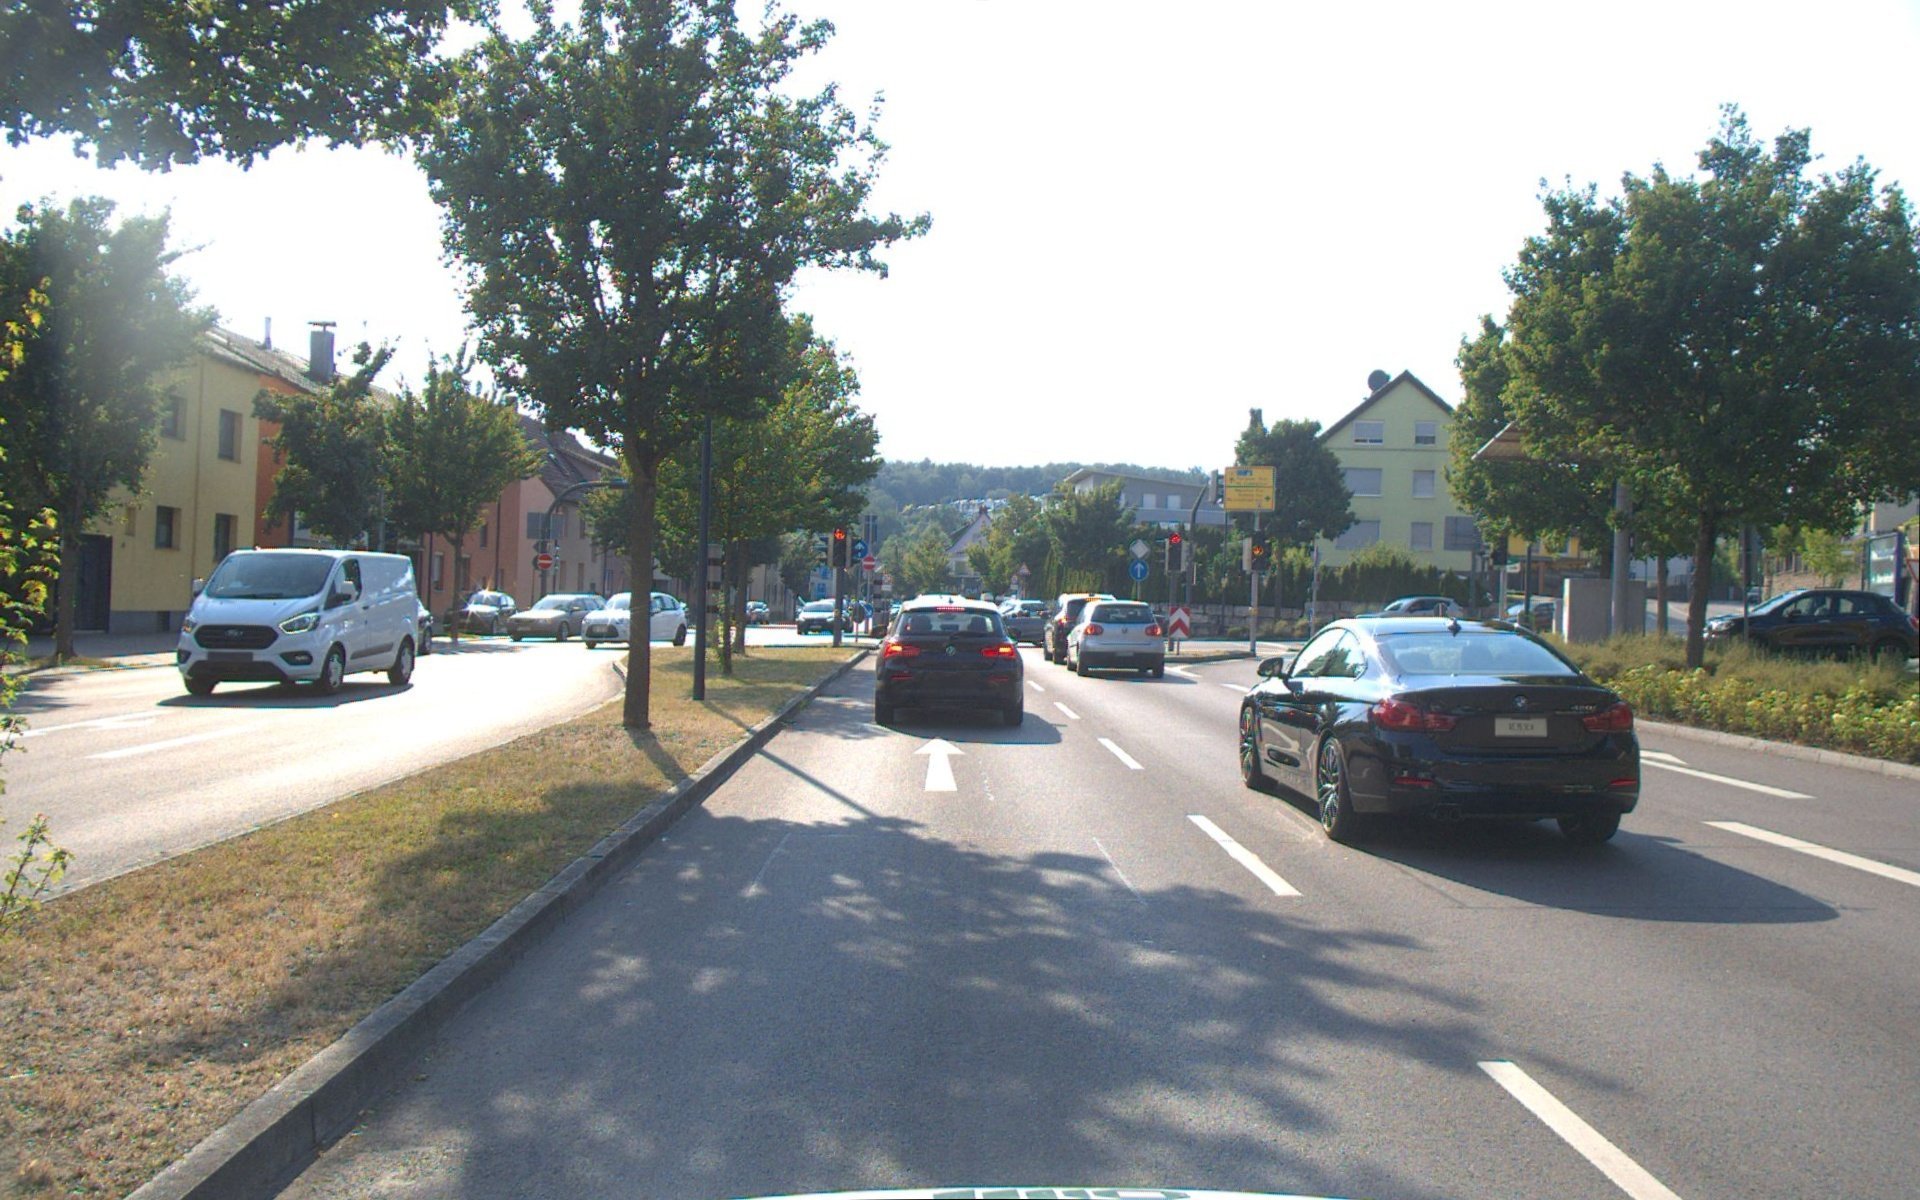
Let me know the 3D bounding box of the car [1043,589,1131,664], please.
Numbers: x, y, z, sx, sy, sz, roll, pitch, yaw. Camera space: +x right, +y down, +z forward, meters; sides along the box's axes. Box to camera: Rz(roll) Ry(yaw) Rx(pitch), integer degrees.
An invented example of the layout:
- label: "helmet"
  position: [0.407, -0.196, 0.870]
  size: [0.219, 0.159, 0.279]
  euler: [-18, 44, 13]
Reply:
- label: "car"
  position: [3.018, 0.609, 40.011]
  size: [1.779, 1.695, 4.346]
  euler: [1, 0, 0]

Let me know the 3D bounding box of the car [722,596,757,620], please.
- label: "car"
  position: [-15.525, 0.571, 116.718]
  size: [1.884, 1.624, 4.000]
  euler: [1, 0, 0]

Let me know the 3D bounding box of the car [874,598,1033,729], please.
- label: "car"
  position: [-0.070, 0.706, 20.649]
  size: [1.754, 1.439, 4.346]
  euler: [1, 0, 0]

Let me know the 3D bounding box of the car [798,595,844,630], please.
- label: "car"
  position: [-6.236, 0.545, 74.555]
  size: [1.730, 1.484, 4.000]
  euler: [1, 0, 0]

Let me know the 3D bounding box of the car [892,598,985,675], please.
- label: "car"
  position: [-0.414, 0.703, 34.102]
  size: [1.779, 1.476, 4.241]
  euler: [1, 0, 0]

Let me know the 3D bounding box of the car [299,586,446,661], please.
- label: "car"
  position: [-12.872, 0.486, 36.515]
  size: [1.770, 1.523, 4.244]
  euler: [1, 0, -1]

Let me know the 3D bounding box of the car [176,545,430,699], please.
- label: "car"
  position: [-9.246, 0.286, 23.759]
  size: [1.786, 1.957, 4.943]
  euler: [1, 0, -2]

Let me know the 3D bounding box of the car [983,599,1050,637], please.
- label: "car"
  position: [2.623, 0.841, 77.765]
  size: [1.860, 1.732, 4.503]
  euler: [0, 0, -16]

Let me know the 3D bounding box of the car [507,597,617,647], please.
- label: "car"
  position: [-12.548, 0.675, 52.456]
  size: [1.650, 1.488, 4.715]
  euler: [1, 0, 9]

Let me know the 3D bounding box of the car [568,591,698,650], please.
- label: "car"
  position: [-9.024, 0.553, 45.993]
  size: [1.764, 1.523, 3.956]
  euler: [1, 0, 20]

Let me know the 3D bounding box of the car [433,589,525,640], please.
- label: "car"
  position: [-16.451, 0.474, 56.766]
  size: [1.805, 1.579, 4.001]
  euler: [3, 0, 1]

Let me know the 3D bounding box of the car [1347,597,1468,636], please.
- label: "car"
  position: [18.428, 0.681, 68.179]
  size: [4.572, 1.511, 1.858]
  euler: [1, 0, -18]

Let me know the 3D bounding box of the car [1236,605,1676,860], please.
- label: "car"
  position: [3.194, 0.765, 11.608]
  size: [1.779, 1.413, 4.346]
  euler: [1, 0, 0]

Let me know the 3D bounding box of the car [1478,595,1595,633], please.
- label: "car"
  position: [22.235, 0.536, 63.826]
  size: [4.108, 1.411, 1.643]
  euler: [1, 0, -16]

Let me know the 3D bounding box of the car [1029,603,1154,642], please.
- label: "car"
  position: [5.135, 0.892, 64.855]
  size: [4.551, 1.446, 1.842]
  euler: [1, 0, -14]

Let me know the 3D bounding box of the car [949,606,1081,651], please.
- label: "car"
  position: [1.925, 1.007, 58.391]
  size: [4.384, 1.372, 1.782]
  euler: [1, 3, -11]

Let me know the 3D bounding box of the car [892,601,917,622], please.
- label: "car"
  position: [-4.633, 0.950, 138.238]
  size: [1.884, 1.624, 4.000]
  euler: [1, 0, 0]

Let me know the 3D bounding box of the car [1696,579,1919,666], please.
- label: "car"
  position: [17.101, 0.435, 33.207]
  size: [3.902, 1.636, 1.855]
  euler: [1, 0, 11]

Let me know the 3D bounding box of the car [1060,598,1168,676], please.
- label: "car"
  position: [3.081, 0.705, 33.820]
  size: [1.779, 1.471, 4.346]
  euler: [1, 0, 0]
